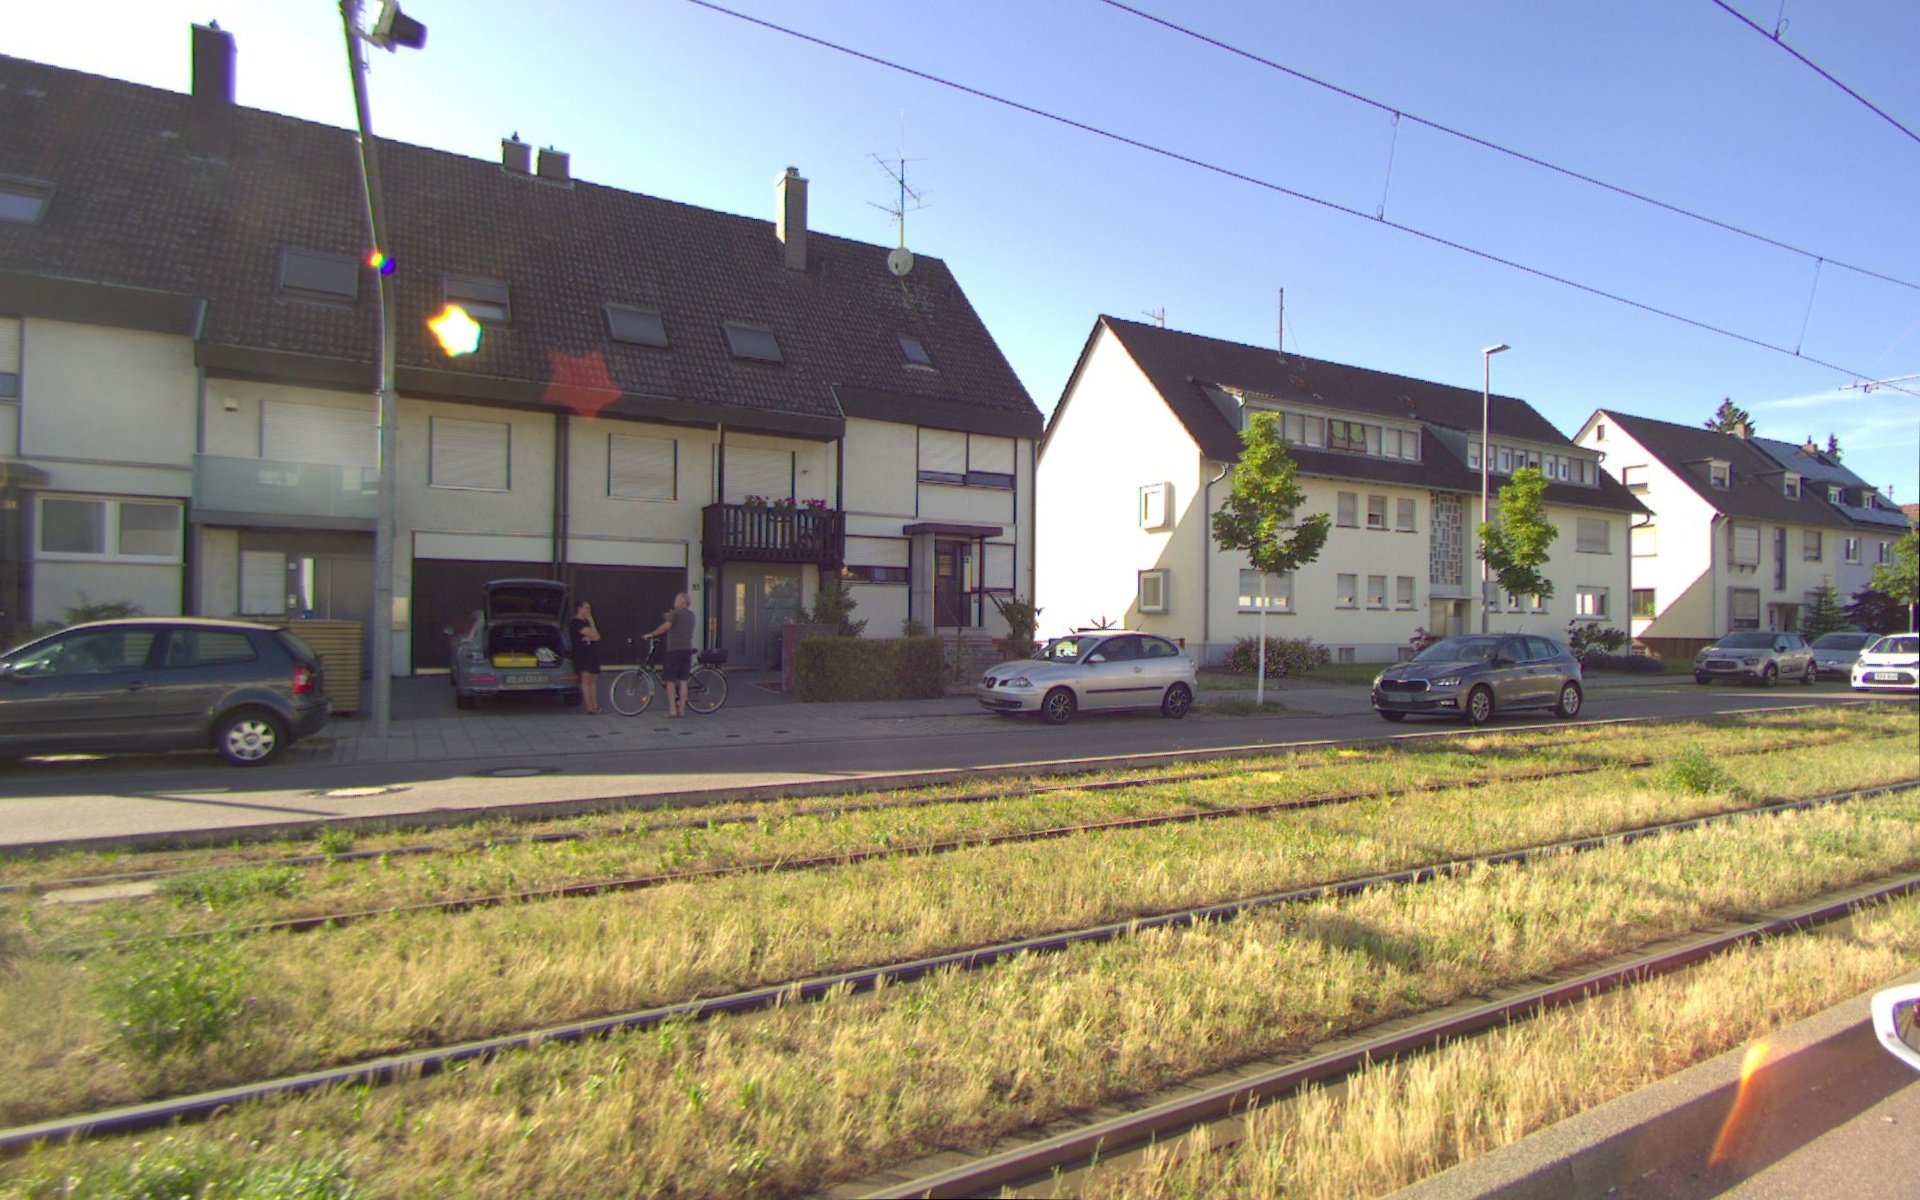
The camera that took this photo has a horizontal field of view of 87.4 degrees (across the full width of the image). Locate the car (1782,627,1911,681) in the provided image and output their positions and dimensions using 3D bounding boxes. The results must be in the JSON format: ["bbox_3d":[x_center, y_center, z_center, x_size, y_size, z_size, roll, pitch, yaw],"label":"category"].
[{"bbox_3d":[27.287,1.651,30.899,4.391,1.495,1.680,2,0,-31],"label":"car"}]

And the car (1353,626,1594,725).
[{"bbox_3d":[8.670,1.248,16.898,4.036,1.494,1.681,2,-4,-31],"label":"car"}]

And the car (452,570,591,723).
[{"bbox_3d":[-7.382,0.627,16.655,1.765,2.108,4.442,2,2,-28],"label":"car"}]

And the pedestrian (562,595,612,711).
[{"bbox_3d":[-5.660,0.796,15.270,0.613,1.710,0.551,2,0,-14],"label":"pedestrian"}]

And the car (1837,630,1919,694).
[{"bbox_3d":[23.667,1.525,25.018,3.637,1.495,1.681,2,-3,-30],"label":"car"}]

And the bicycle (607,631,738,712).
[{"bbox_3d":[-4.362,1.079,15.275,1.845,1.178,0.476,2,0,-24],"label":"bicycle"}]

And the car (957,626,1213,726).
[{"bbox_3d":[2.115,1.184,16.643,4.055,1.455,1.650,1,-1,-31],"label":"car"}]

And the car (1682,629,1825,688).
[{"bbox_3d":[22.130,1.606,27.981,4.264,1.492,1.680,2,0,-31],"label":"car"}]

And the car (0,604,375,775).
[{"bbox_3d":[-8.378,0.840,10.284,4.034,1.532,1.612,1,0,-29],"label":"car"}]

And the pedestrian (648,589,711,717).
[{"bbox_3d":[-4.175,0.771,14.940,0.672,1.839,0.610,1,0,-38],"label":"pedestrian"}]
